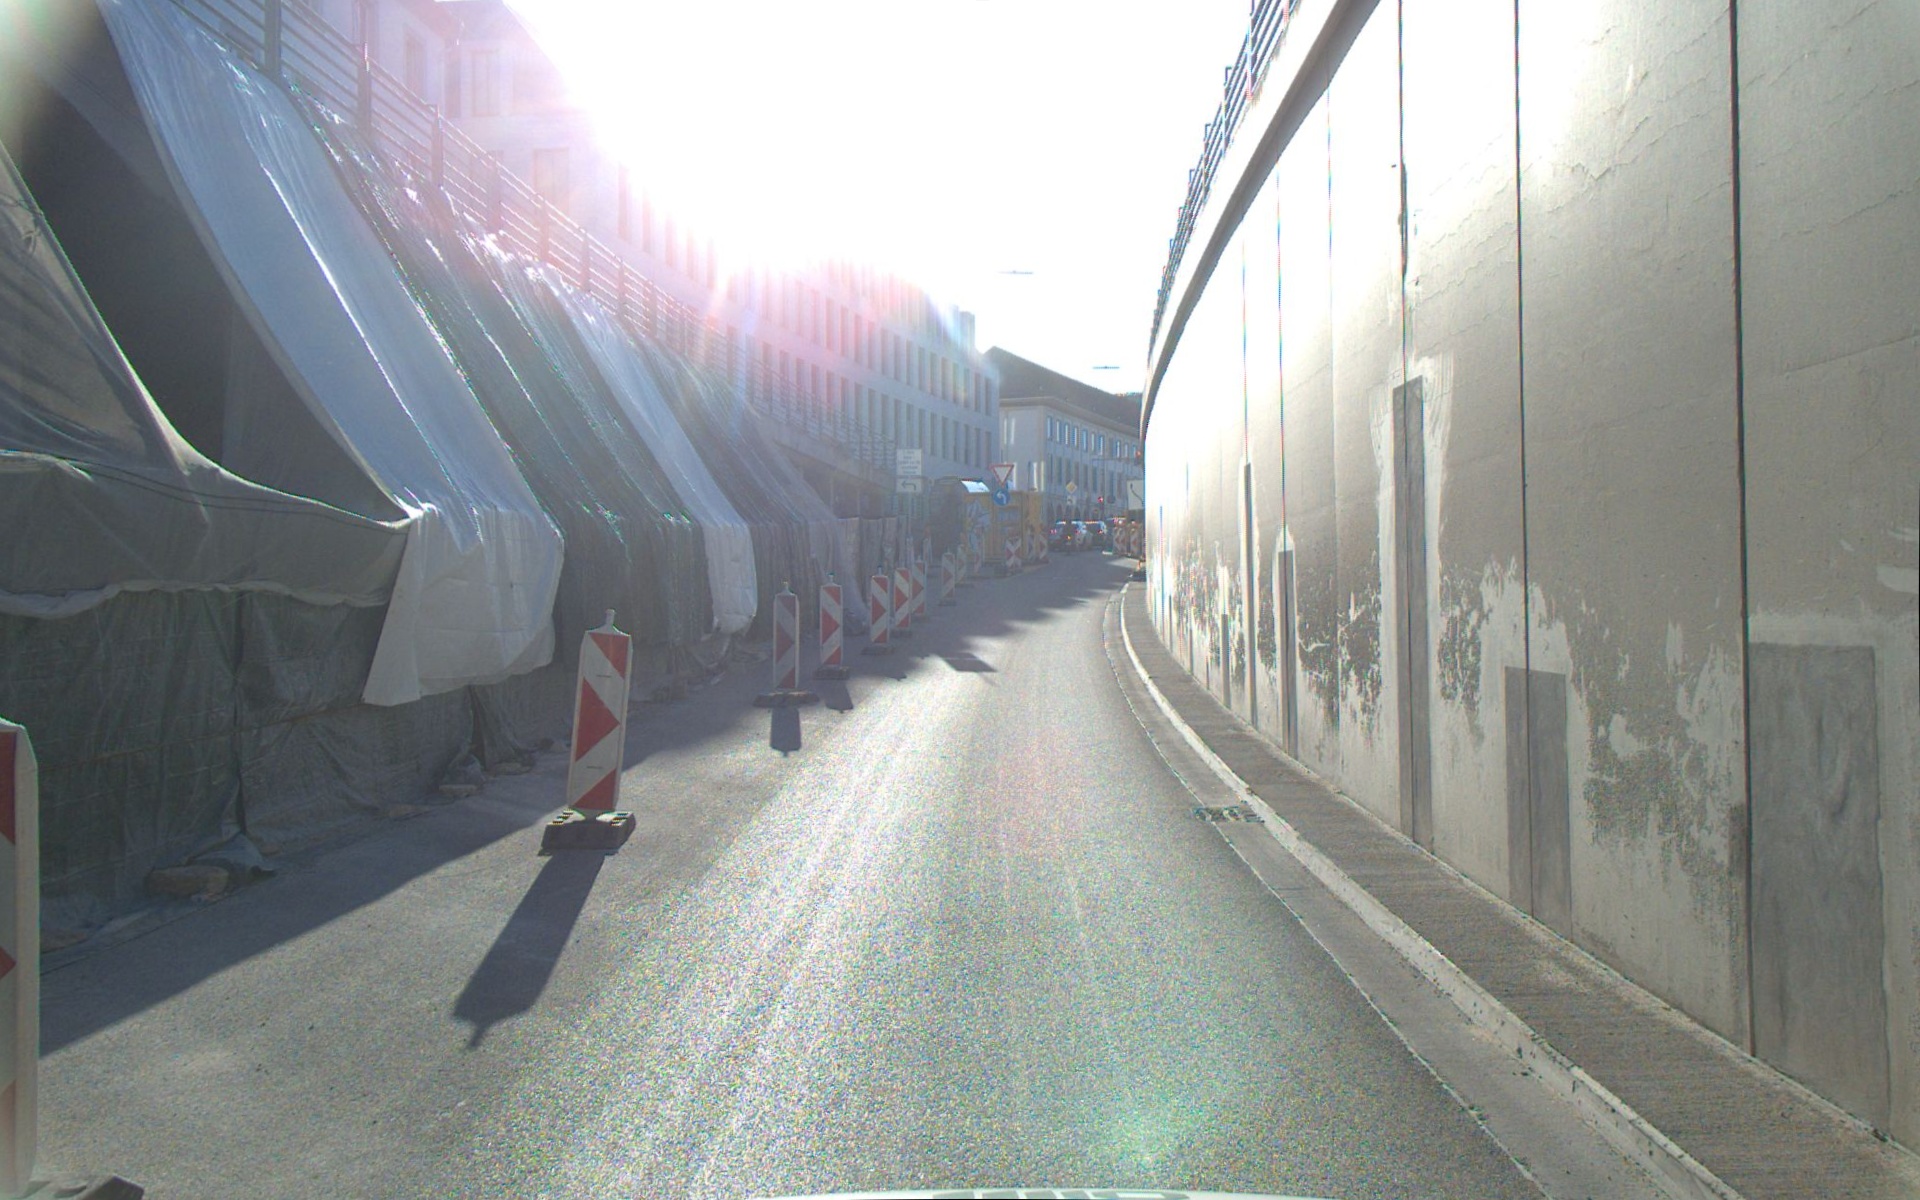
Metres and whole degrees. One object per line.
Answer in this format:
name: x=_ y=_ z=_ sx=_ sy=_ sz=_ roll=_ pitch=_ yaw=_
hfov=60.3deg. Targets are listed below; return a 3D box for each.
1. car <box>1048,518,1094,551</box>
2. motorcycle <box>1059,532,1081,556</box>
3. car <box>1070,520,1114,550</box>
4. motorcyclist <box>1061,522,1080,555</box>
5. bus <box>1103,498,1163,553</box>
car: x=5.661 y=-3.307 z=83.832 sx=1.738 sy=1.632 sz=4.004 roll=1 pitch=2 yaw=12
motorcycle: x=5.124 y=-2.578 z=76.929 sx=0.755 sy=1.010 sz=2.185 roll=0 pitch=-1 yaw=11
car: x=7.227 y=-3.528 z=90.040 sx=1.782 sy=1.560 sz=4.004 roll=1 pitch=2 yaw=14
motorcyclist: x=5.113 y=-2.852 z=76.819 sx=0.787 sy=1.530 sz=0.777 roll=0 pitch=-1 yaw=11
bus: x=8.422 y=-3.623 z=80.385 sx=2.177 sy=2.601 sz=4.431 roll=1 pitch=2 yaw=16
